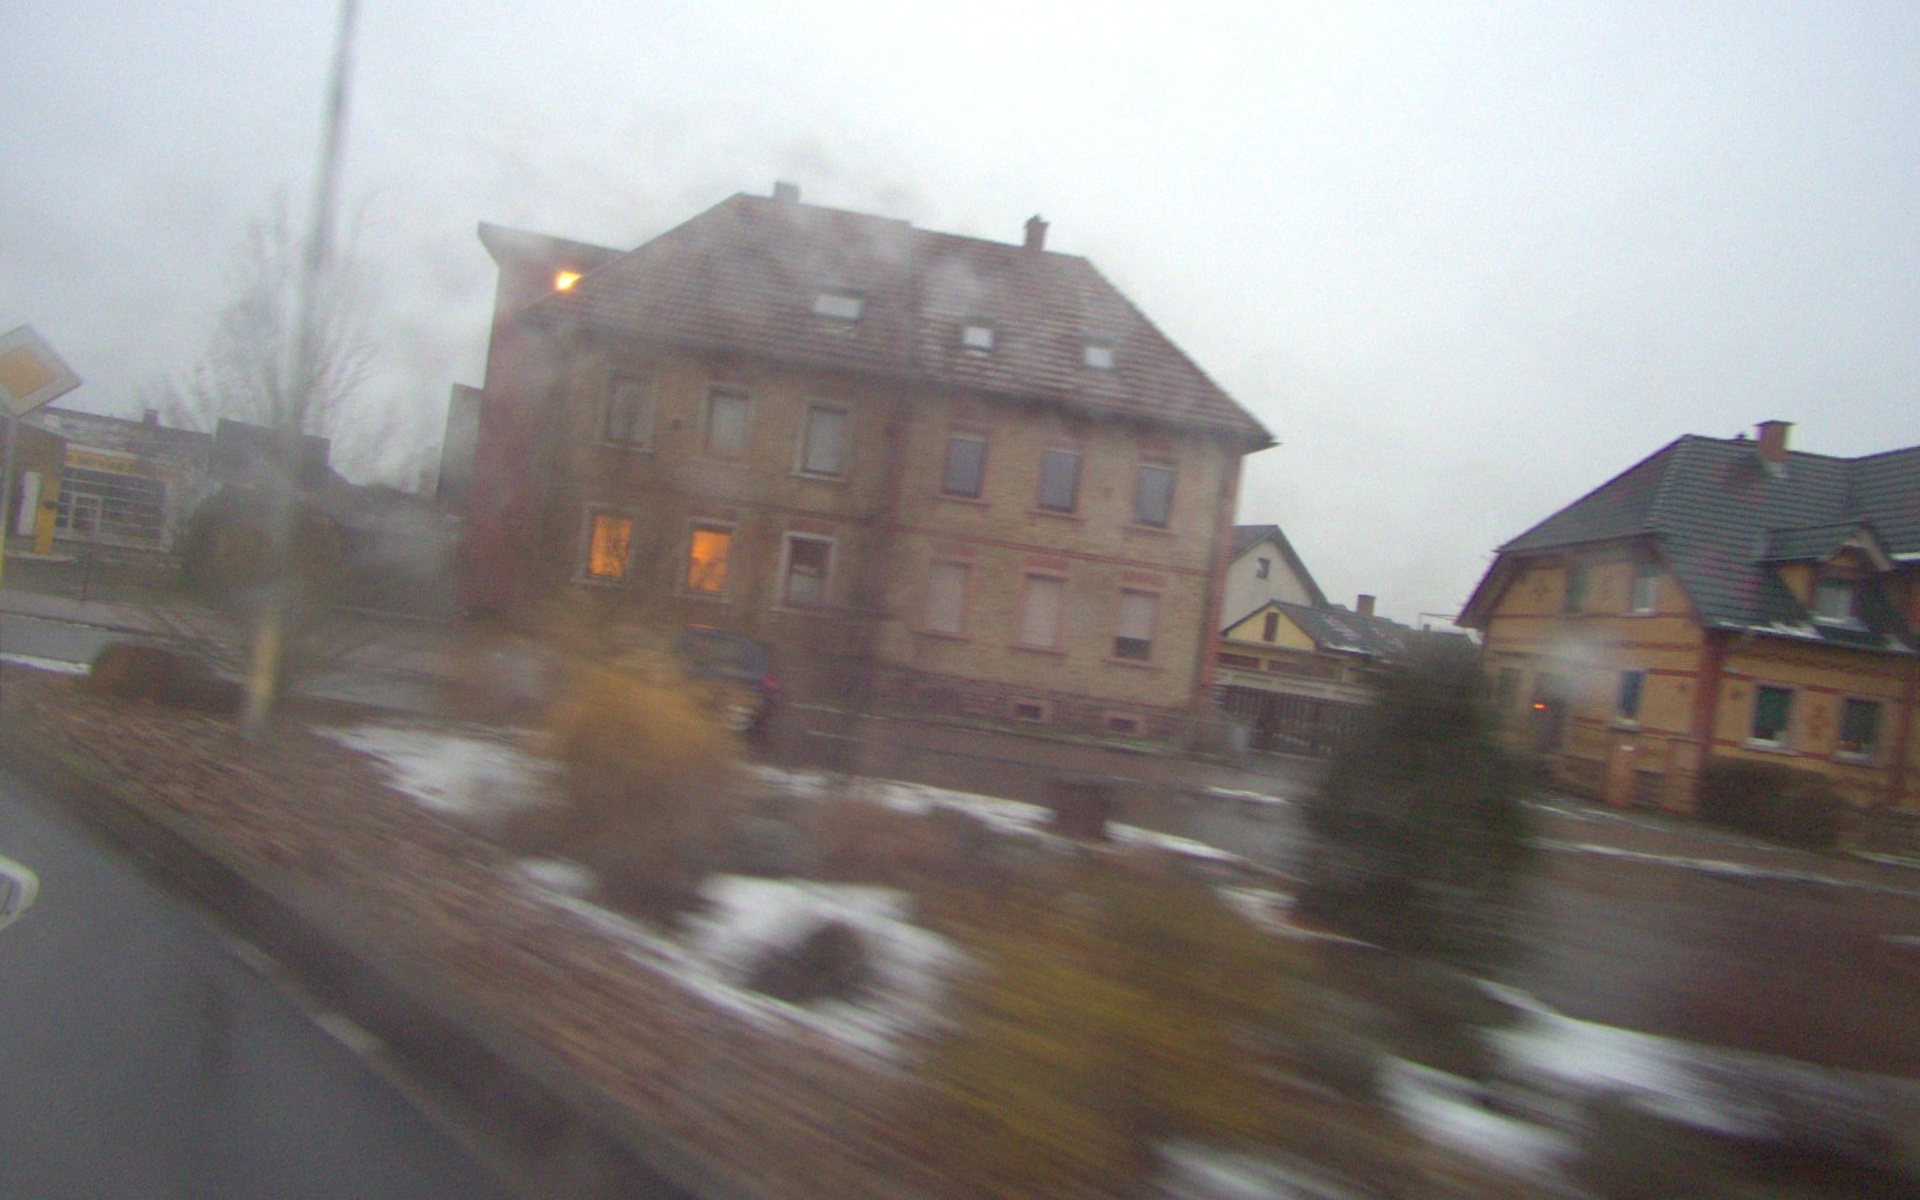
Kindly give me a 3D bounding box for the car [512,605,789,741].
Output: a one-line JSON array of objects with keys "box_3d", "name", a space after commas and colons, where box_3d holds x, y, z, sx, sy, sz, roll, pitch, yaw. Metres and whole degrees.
[{"box_3d": [-4.444, 1.058, 14.783, 3.516, 1.399, 1.287, 9, -2, -3], "name": "car"}]
